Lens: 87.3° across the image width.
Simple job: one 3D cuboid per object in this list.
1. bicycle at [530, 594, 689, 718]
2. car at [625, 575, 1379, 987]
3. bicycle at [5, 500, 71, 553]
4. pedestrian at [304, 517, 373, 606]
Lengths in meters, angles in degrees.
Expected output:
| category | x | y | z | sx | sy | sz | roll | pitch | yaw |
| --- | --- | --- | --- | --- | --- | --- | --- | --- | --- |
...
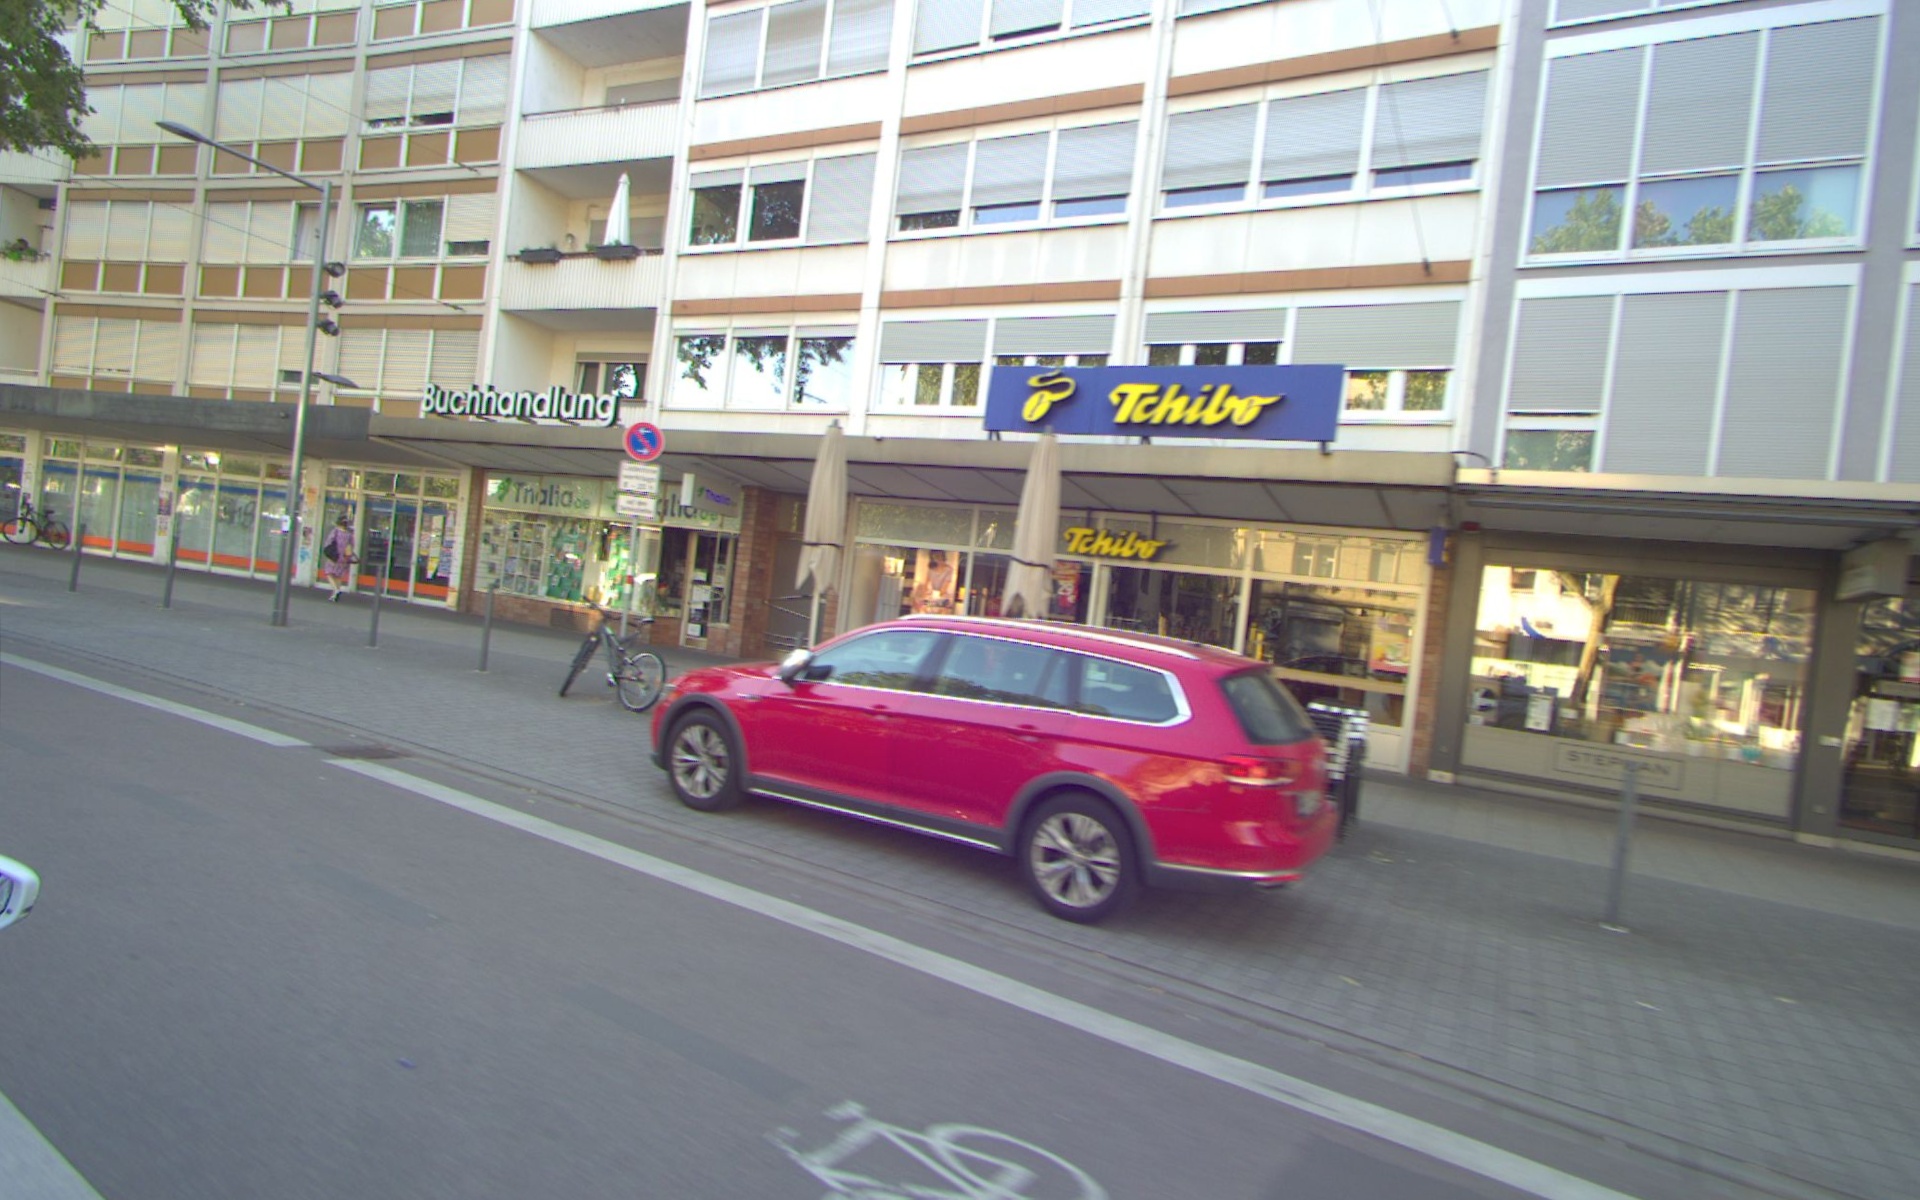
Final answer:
| category | x | y | z | sx | sy | sz | roll | pitch | yaw |
| --- | --- | --- | --- | --- | --- | --- | --- | --- | --- |
| bicycle | -3.750 | 0.574 | 10.734 | 1.632 | 1.084 | 0.512 | 7 | 3 | 25 |
| car | 0.126 | 0.846 | 6.542 | 4.490 | 1.516 | 1.780 | 7 | 2 | 30 |
| bicycle | -22.532 | -1.791 | 24.587 | 1.434 | 1.107 | 0.438 | 7 | 3 | 15 |
| pedestrian | -11.838 | -0.718 | 19.171 | 0.793 | 1.571 | 0.641 | 7 | 0 | 20 |
